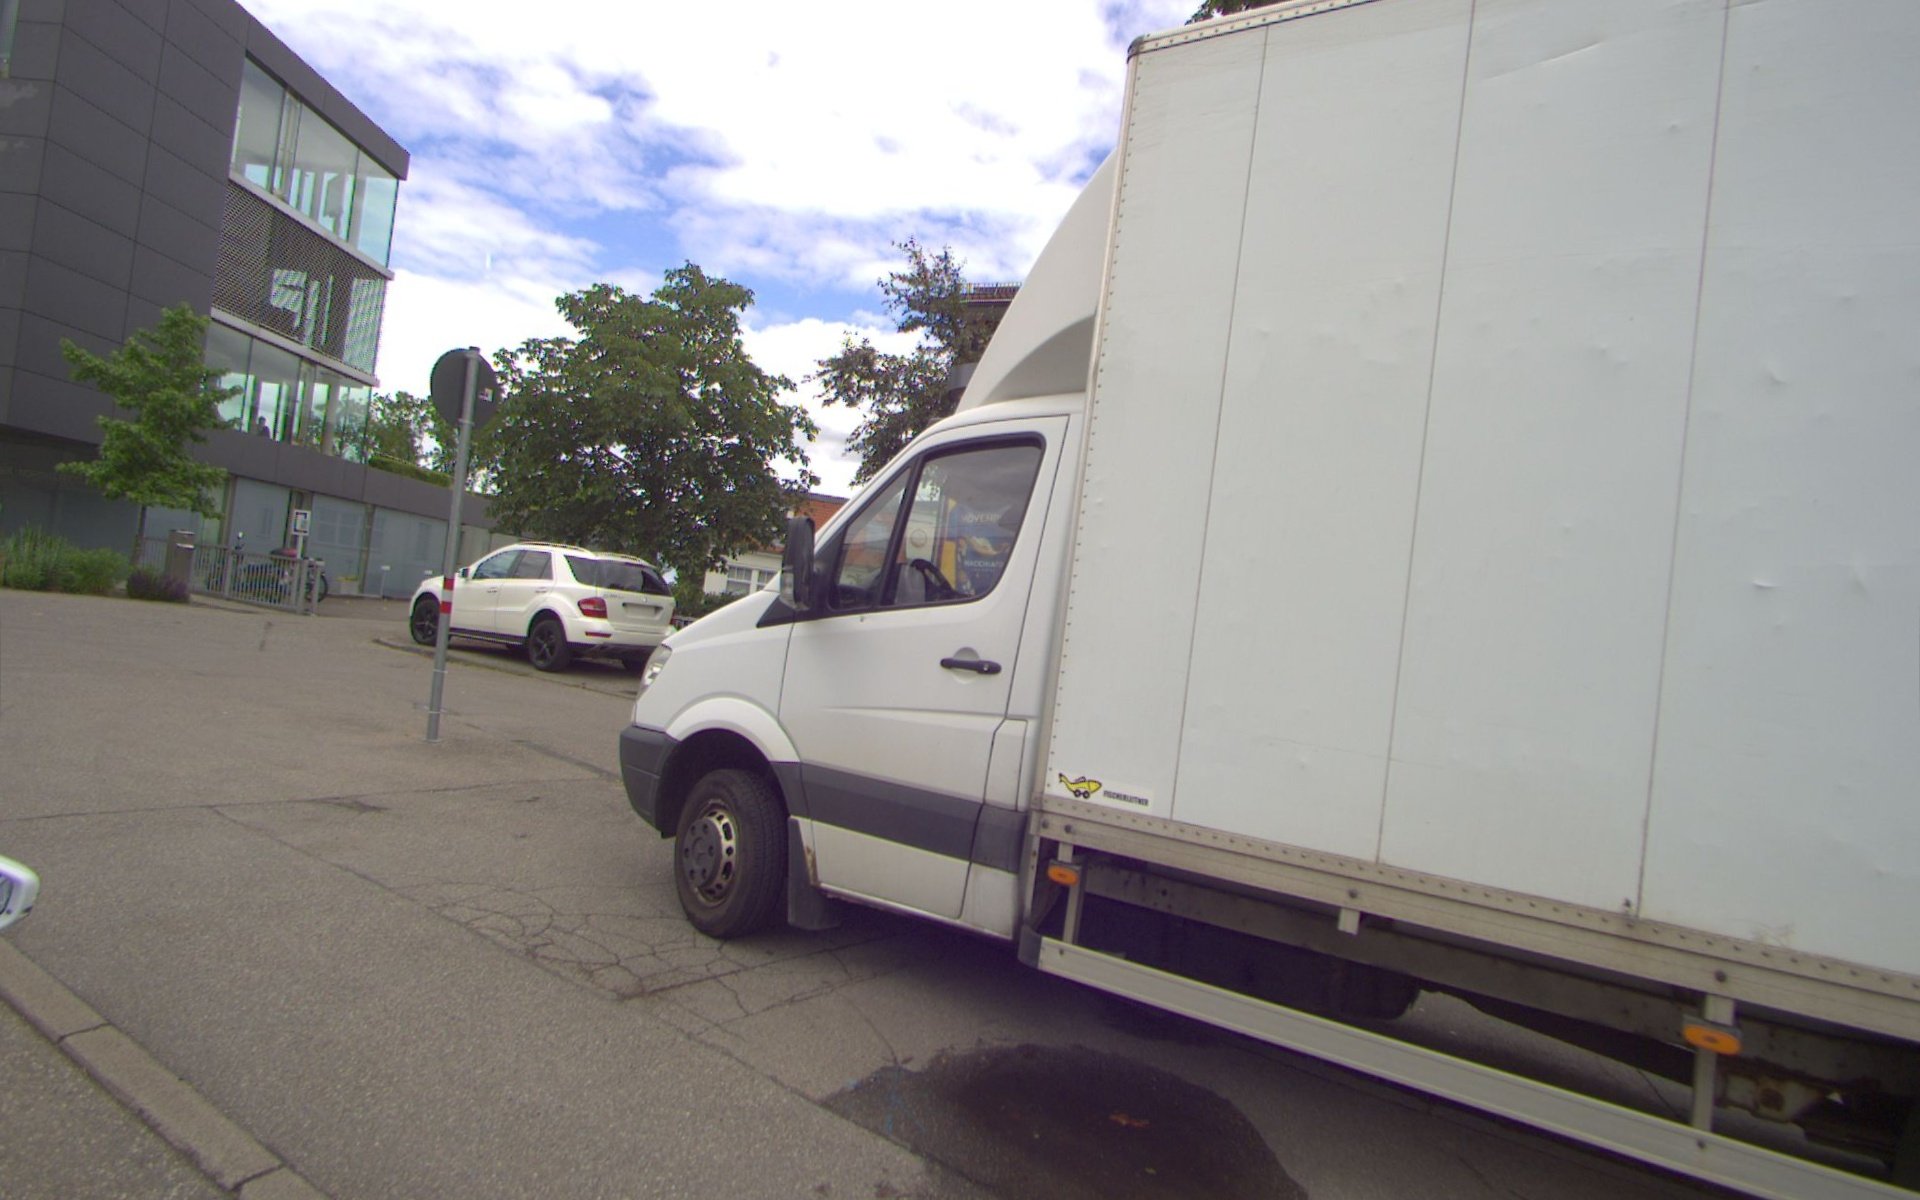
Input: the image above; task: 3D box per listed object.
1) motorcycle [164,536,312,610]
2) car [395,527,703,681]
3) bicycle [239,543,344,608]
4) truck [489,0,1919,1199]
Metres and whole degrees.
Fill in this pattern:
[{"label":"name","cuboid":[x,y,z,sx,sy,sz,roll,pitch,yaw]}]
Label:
[{"label":"motorcycle","cuboid":[-16.083,-0.593,22.438,2.643,1.275,0.849,7,-1,4]},{"label":"car","cuboid":[-6.377,0.035,15.509,4.442,1.860,1.996,6,0,30]},{"label":"bicycle","cuboid":[-16.171,-0.593,24.341,2.063,1.275,0.616,7,0,4]},{"label":"truck","cuboid":[1.980,-0.012,3.620,7.681,3.567,2.577,7,-1,32]}]
